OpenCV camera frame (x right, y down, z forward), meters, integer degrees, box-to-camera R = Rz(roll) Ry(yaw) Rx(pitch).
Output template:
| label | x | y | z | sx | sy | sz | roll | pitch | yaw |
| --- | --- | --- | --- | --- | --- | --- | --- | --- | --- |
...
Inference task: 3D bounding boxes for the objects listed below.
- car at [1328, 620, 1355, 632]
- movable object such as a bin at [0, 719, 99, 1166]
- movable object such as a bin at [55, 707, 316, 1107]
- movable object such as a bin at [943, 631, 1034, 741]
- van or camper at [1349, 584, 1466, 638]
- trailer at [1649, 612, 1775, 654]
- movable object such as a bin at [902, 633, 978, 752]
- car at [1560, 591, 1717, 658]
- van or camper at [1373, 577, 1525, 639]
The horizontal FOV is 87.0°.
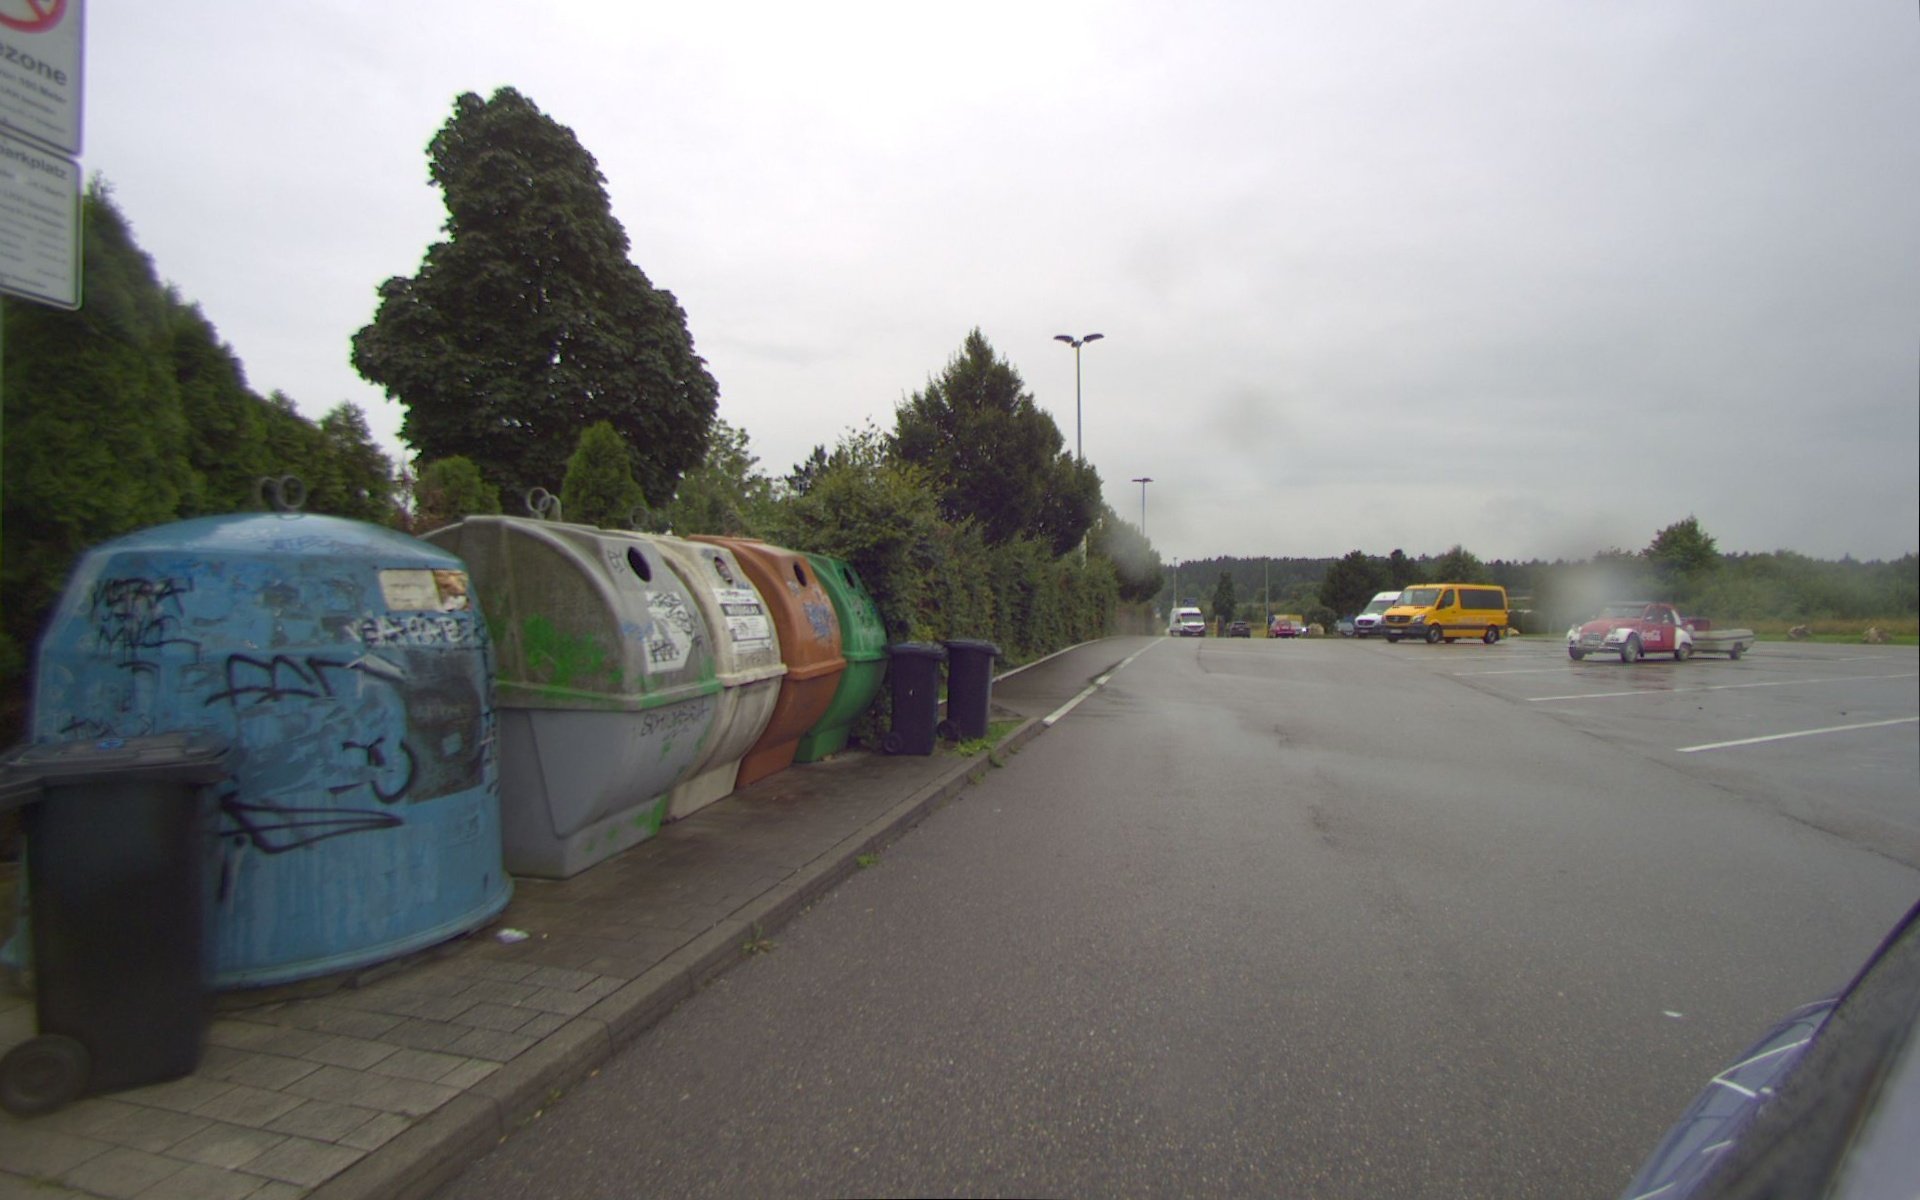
| label | x | y | z | sx | sy | sz | roll | pitch | yaw |
| --- | --- | --- | --- | --- | --- | --- | --- | --- | --- |
| car | 36.025 | 2.440 | 95.673 | 1.682 | 1.013 | 3.756 | 1 | 1 | 10 |
| movable object such as a bin | -2.377 | 0.795 | 2.352 | 0.447 | 0.950 | 0.482 | 1 | 0 | 37 |
| movable object such as a bin | -2.191 | 0.805 | 2.872 | 0.447 | 0.928 | 0.482 | 1 | 0 | 37 |
| movable object such as a bin | 0.260 | 0.760 | 9.222 | 0.547 | 0.932 | 0.629 | 1 | 0 | -42 |
| van or camper | 24.332 | 0.563 | 54.896 | 6.926 | 2.749 | 2.003 | 0 | 2 | -30 |
| trailer | 20.389 | 0.881 | 27.435 | 2.968 | 1.081 | 1.591 | 1 | -1 | -27 |
| movable object such as a bin | -0.169 | 0.757 | 8.486 | 0.409 | 0.932 | 0.494 | 1 | 0 | -42 |
| car | 17.250 | 0.593 | 25.718 | 3.973 | 1.575 | 1.552 | 0 | 0 | -26 |
| van or camper | 19.096 | 0.292 | 39.429 | 6.288 | 2.275 | 2.137 | 0 | 0 | -30 |
